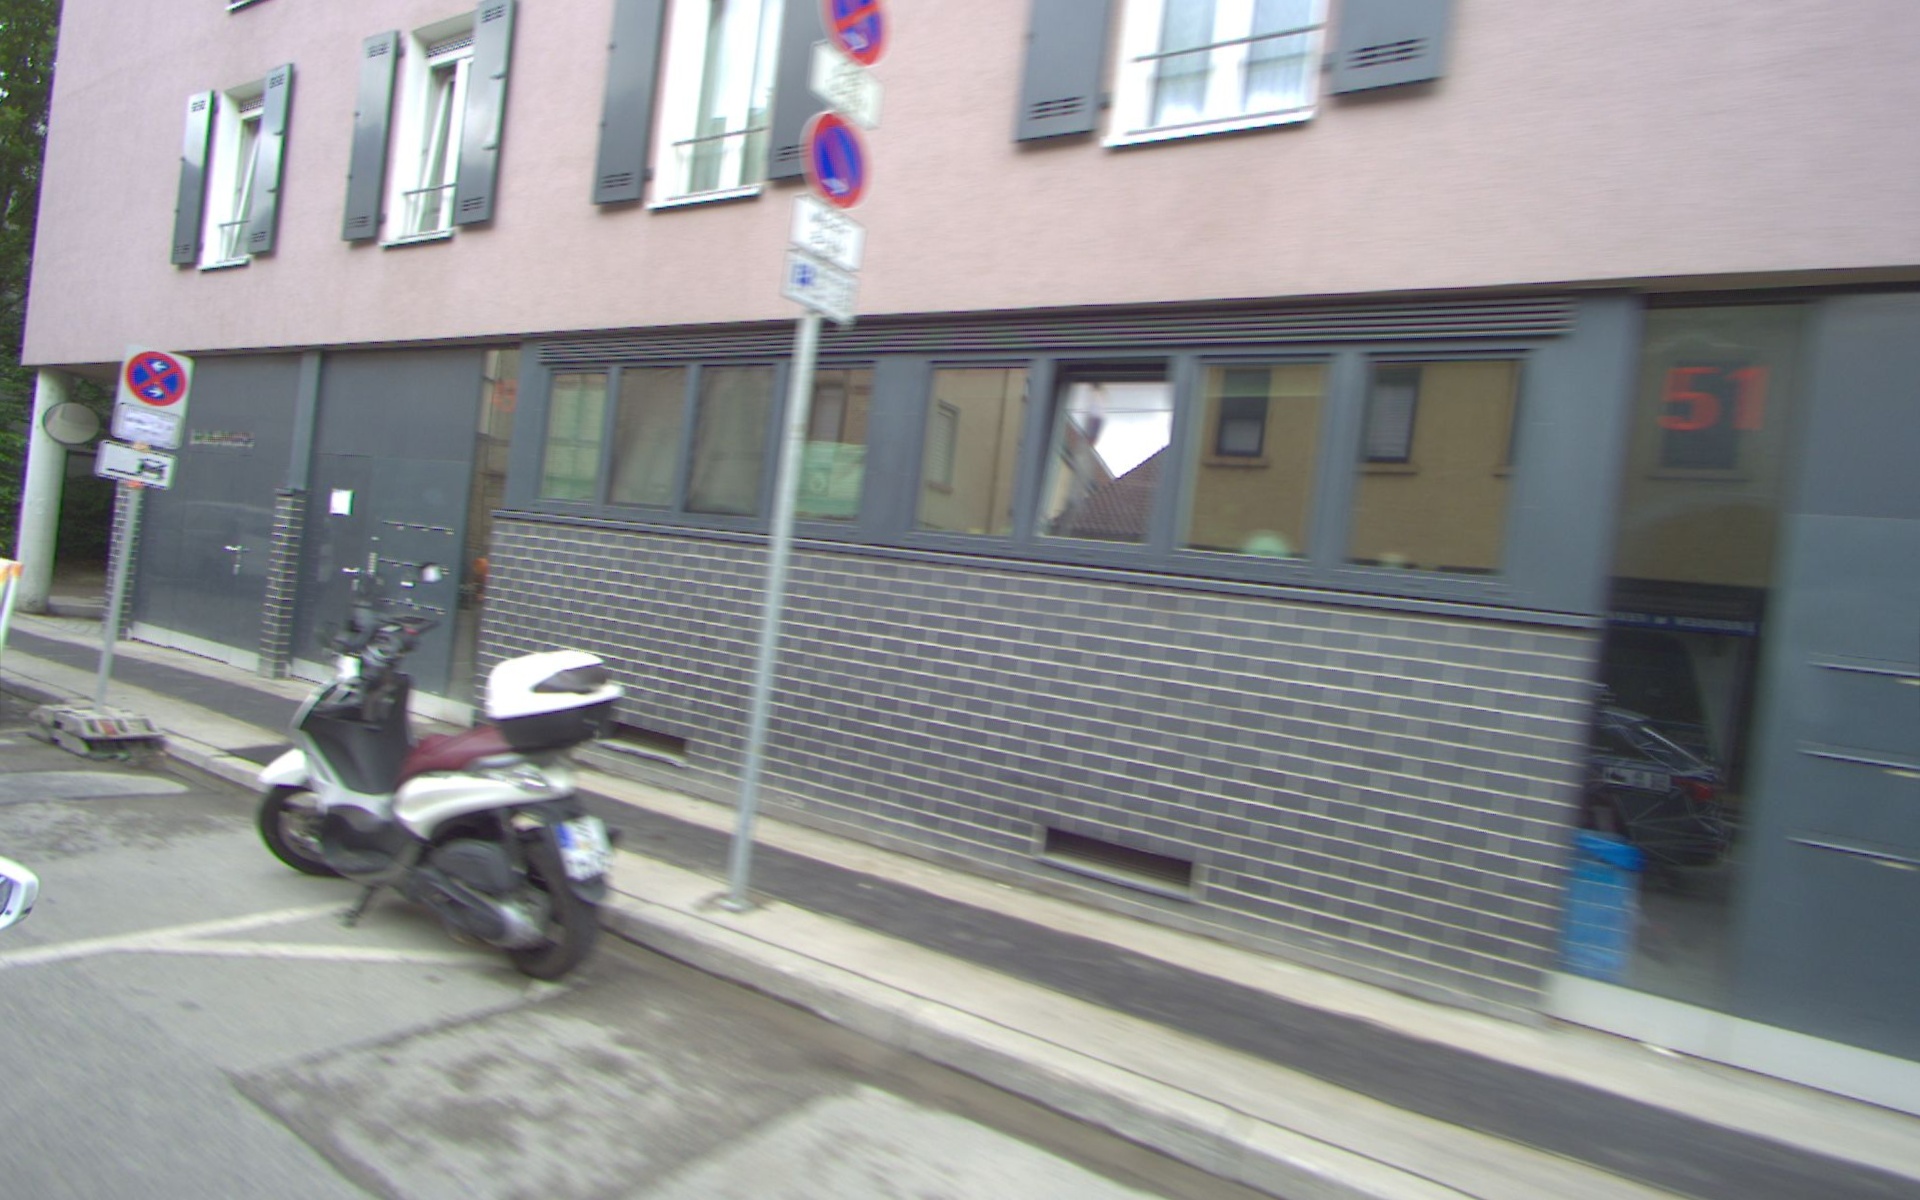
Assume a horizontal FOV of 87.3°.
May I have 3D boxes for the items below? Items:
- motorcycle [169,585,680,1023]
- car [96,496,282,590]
[{"bbox_3d":[-2.282,0.683,4.141,2.298,1.240,0.648,6,-1,31],"label":"motorcycle"},{"bbox_3d":[-16.876,-1.250,22.002,3.929,1.606,1.638,7,2,27],"label":"car"}]
